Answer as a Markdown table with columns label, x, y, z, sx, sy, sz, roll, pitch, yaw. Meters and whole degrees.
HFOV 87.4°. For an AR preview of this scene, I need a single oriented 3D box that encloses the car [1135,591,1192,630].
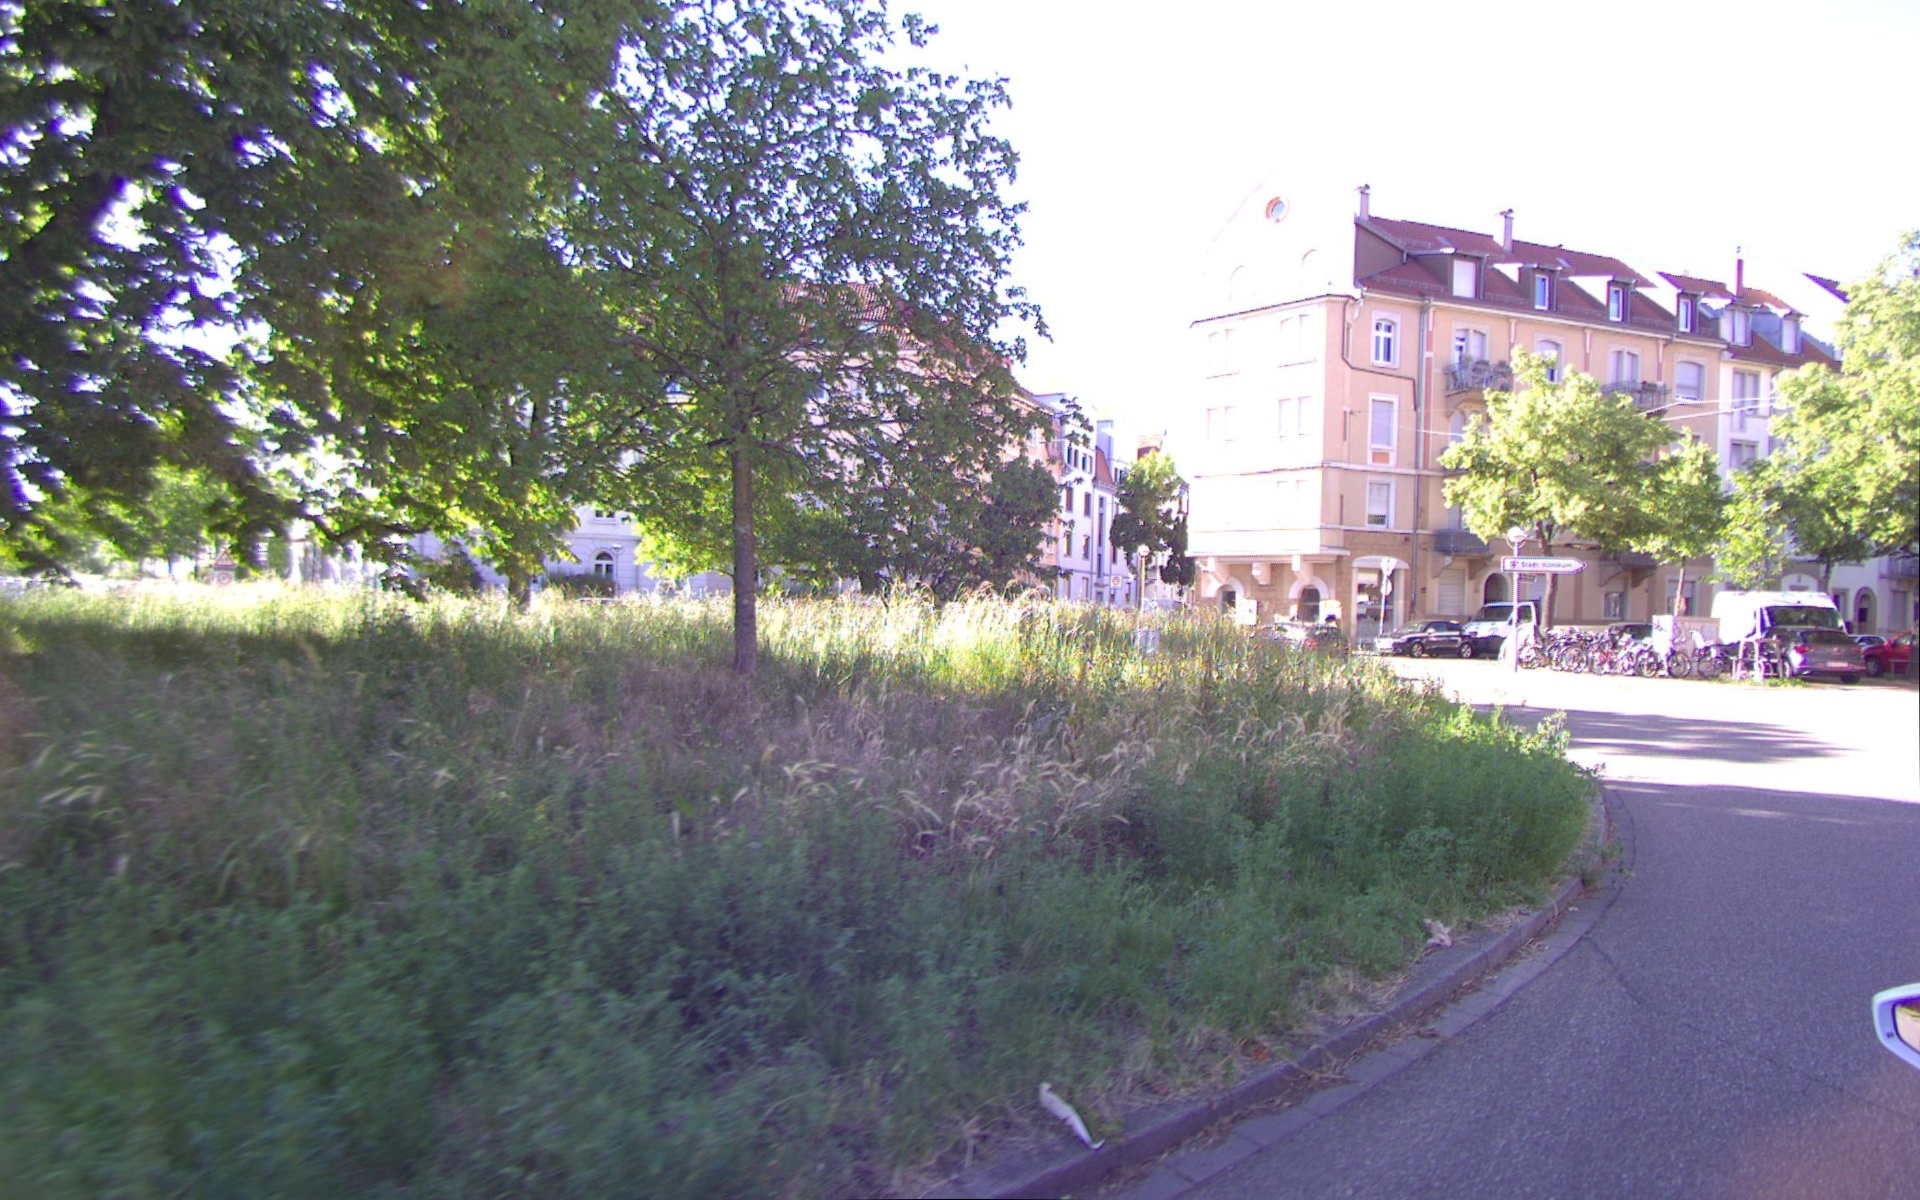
| label | x | y | z | sx | sy | sz | roll | pitch | yaw |
| --- | --- | --- | --- | --- | --- | --- | --- | --- | --- |
| car | 10.710 | 0.566 | 52.731 | 2.100 | 1.934 | 4.560 | 2 | 0 | 22 |

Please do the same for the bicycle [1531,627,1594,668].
| label | x | y | z | sx | sy | sz | roll | pitch | yaw |
| --- | --- | --- | --- | --- | --- | --- | --- | --- | --- |
| bicycle | 17.149 | 1.346 | 28.592 | 1.576 | 1.142 | 0.587 | 1 | 2 | -17 |

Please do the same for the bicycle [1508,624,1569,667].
| label | x | y | z | sx | sy | sz | roll | pitch | yaw |
| --- | --- | --- | --- | --- | --- | --- | --- | --- | --- |
| bicycle | 16.897 | 1.319 | 29.334 | 1.652 | 1.209 | 0.536 | 1 | 2 | -17 |

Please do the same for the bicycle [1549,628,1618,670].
| label | x | y | z | sx | sy | sz | roll | pitch | yaw |
| --- | --- | --- | --- | --- | --- | --- | --- | --- | --- |
| bicycle | 17.323 | 1.353 | 27.902 | 1.702 | 1.103 | 0.655 | 1 | 2 | -17 |

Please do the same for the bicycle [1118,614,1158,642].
| label | x | y | z | sx | sy | sz | roll | pitch | yaw |
| --- | --- | --- | --- | --- | --- | --- | --- | --- | --- |
| bicycle | 7.242 | 1.127 | 40.746 | 1.864 | 1.104 | 0.529 | 2 | 0 | -41 |

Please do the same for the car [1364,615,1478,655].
| label | x | y | z | sx | sy | sz | roll | pitch | yaw |
| --- | --- | --- | --- | --- | --- | --- | --- | --- | --- |
| car | 17.136 | 1.289 | 37.345 | 3.864 | 1.408 | 1.680 | 2 | -1 | -22 |

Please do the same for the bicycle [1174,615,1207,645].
| label | x | y | z | sx | sy | sz | roll | pitch | yaw |
| --- | --- | --- | --- | --- | --- | --- | --- | --- | --- |
| bicycle | 8.970 | 1.148 | 39.042 | 0.476 | 1.138 | 1.688 | 1 | 0 | 41 |

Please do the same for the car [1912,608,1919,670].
| label | x | y | z | sx | sy | sz | roll | pitch | yaw |
| --- | --- | --- | --- | --- | --- | --- | --- | --- | --- |
| car | 29.858 | 1.248 | 29.131 | 1.654 | 1.890 | 3.385 | 2 | 1 | 11 |

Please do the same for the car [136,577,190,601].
| label | x | y | z | sx | sy | sz | roll | pitch | yaw |
| --- | --- | --- | --- | --- | --- | --- | --- | --- | --- |
| car | -44.425 | -0.631 | 55.980 | 3.665 | 1.272 | 1.790 | 1 | 0 | 42 |

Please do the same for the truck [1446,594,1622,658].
| label | x | y | z | sx | sy | sz | roll | pitch | yaw |
| --- | --- | --- | --- | --- | --- | --- | --- | --- | --- |
| truck | 22.463 | 1.040 | 39.306 | 6.515 | 2.322 | 2.131 | 2 | -1 | -18 |

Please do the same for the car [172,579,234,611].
| label | x | y | z | sx | sy | sz | roll | pitch | yaw |
| --- | --- | --- | --- | --- | --- | --- | --- | --- | --- |
| car | -36.317 | -0.267 | 48.164 | 3.944 | 1.431 | 1.789 | 1 | 0 | 44 |

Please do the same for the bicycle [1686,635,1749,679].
| label | x | y | z | sx | sy | sz | roll | pitch | yaw |
| --- | --- | --- | --- | --- | --- | --- | --- | --- | --- |
| bicycle | 19.659 | 1.474 | 26.068 | 1.501 | 1.101 | 0.418 | 1 | 2 | -15 |

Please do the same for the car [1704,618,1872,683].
| label | x | y | z | sx | sy | sz | roll | pitch | yaw |
| --- | --- | --- | --- | --- | --- | --- | --- | --- | --- |
| car | 22.527 | 1.319 | 27.533 | 1.654 | 1.466 | 3.924 | 2 | 1 | 7 |

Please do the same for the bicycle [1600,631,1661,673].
| label | x | y | z | sx | sy | sz | roll | pitch | yaw |
| --- | --- | --- | --- | --- | --- | --- | --- | --- | --- |
| bicycle | 17.885 | 1.387 | 26.802 | 1.547 | 1.104 | 0.418 | 1 | 2 | -15 |

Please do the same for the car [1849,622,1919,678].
| label | x | y | z | sx | sy | sz | roll | pitch | yaw |
| --- | --- | --- | --- | --- | --- | --- | --- | --- | --- |
| car | 27.530 | 1.444 | 28.394 | 1.656 | 1.466 | 3.382 | 2 | 1 | -4 |

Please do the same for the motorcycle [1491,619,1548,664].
| label | x | y | z | sx | sy | sz | roll | pitch | yaw |
| --- | --- | --- | --- | --- | --- | --- | --- | --- | --- |
| motorcycle | 17.372 | 1.268 | 31.245 | 0.529 | 1.287 | 1.707 | 1 | 1 | -12 |

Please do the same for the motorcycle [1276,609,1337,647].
| label | x | y | z | sx | sy | sz | roll | pitch | yaw |
| --- | --- | --- | --- | --- | --- | --- | --- | --- | --- |
| motorcycle | 14.234 | 1.126 | 41.255 | 2.218 | 1.430 | 0.696 | 4 | 3 | 42 |

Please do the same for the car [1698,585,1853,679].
| label | x | y | z | sx | sy | sz | roll | pitch | yaw |
| --- | --- | --- | --- | --- | --- | --- | --- | --- | --- |
| car | 26.028 | 0.906 | 32.376 | 2.063 | 2.635 | 6.373 | 3 | 1 | 23 |

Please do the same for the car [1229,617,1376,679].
| label | x | y | z | sx | sy | sz | roll | pitch | yaw |
| --- | --- | --- | --- | --- | --- | --- | --- | --- | --- |
| car | 9.167 | 1.227 | 27.242 | 1.840 | 1.438 | 3.986 | -1 | 1 | -16 |

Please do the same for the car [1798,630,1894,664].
| label | x | y | z | sx | sy | sz | roll | pitch | yaw |
| --- | --- | --- | --- | --- | --- | --- | --- | --- | --- |
| car | 39.520 | 2.102 | 44.804 | 3.864 | 1.408 | 1.680 | 2 | -1 | -22 |

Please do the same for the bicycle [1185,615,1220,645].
| label | x | y | z | sx | sy | sz | roll | pitch | yaw |
| --- | --- | --- | --- | --- | --- | --- | --- | --- | --- |
| bicycle | 9.338 | 1.155 | 38.686 | 0.477 | 1.138 | 1.708 | 1 | 0 | 44 |

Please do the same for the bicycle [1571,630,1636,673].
| label | x | y | z | sx | sy | sz | roll | pitch | yaw |
| --- | --- | --- | --- | --- | --- | --- | --- | --- | --- |
| bicycle | 17.463 | 1.390 | 27.261 | 1.622 | 1.117 | 0.498 | 1 | 2 | -15 |

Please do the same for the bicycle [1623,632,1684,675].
| label | x | y | z | sx | sy | sz | roll | pitch | yaw |
| --- | --- | --- | --- | --- | --- | --- | --- | --- | --- |
| bicycle | 18.242 | 1.403 | 26.436 | 1.501 | 1.101 | 0.418 | 1 | 2 | -15 |
